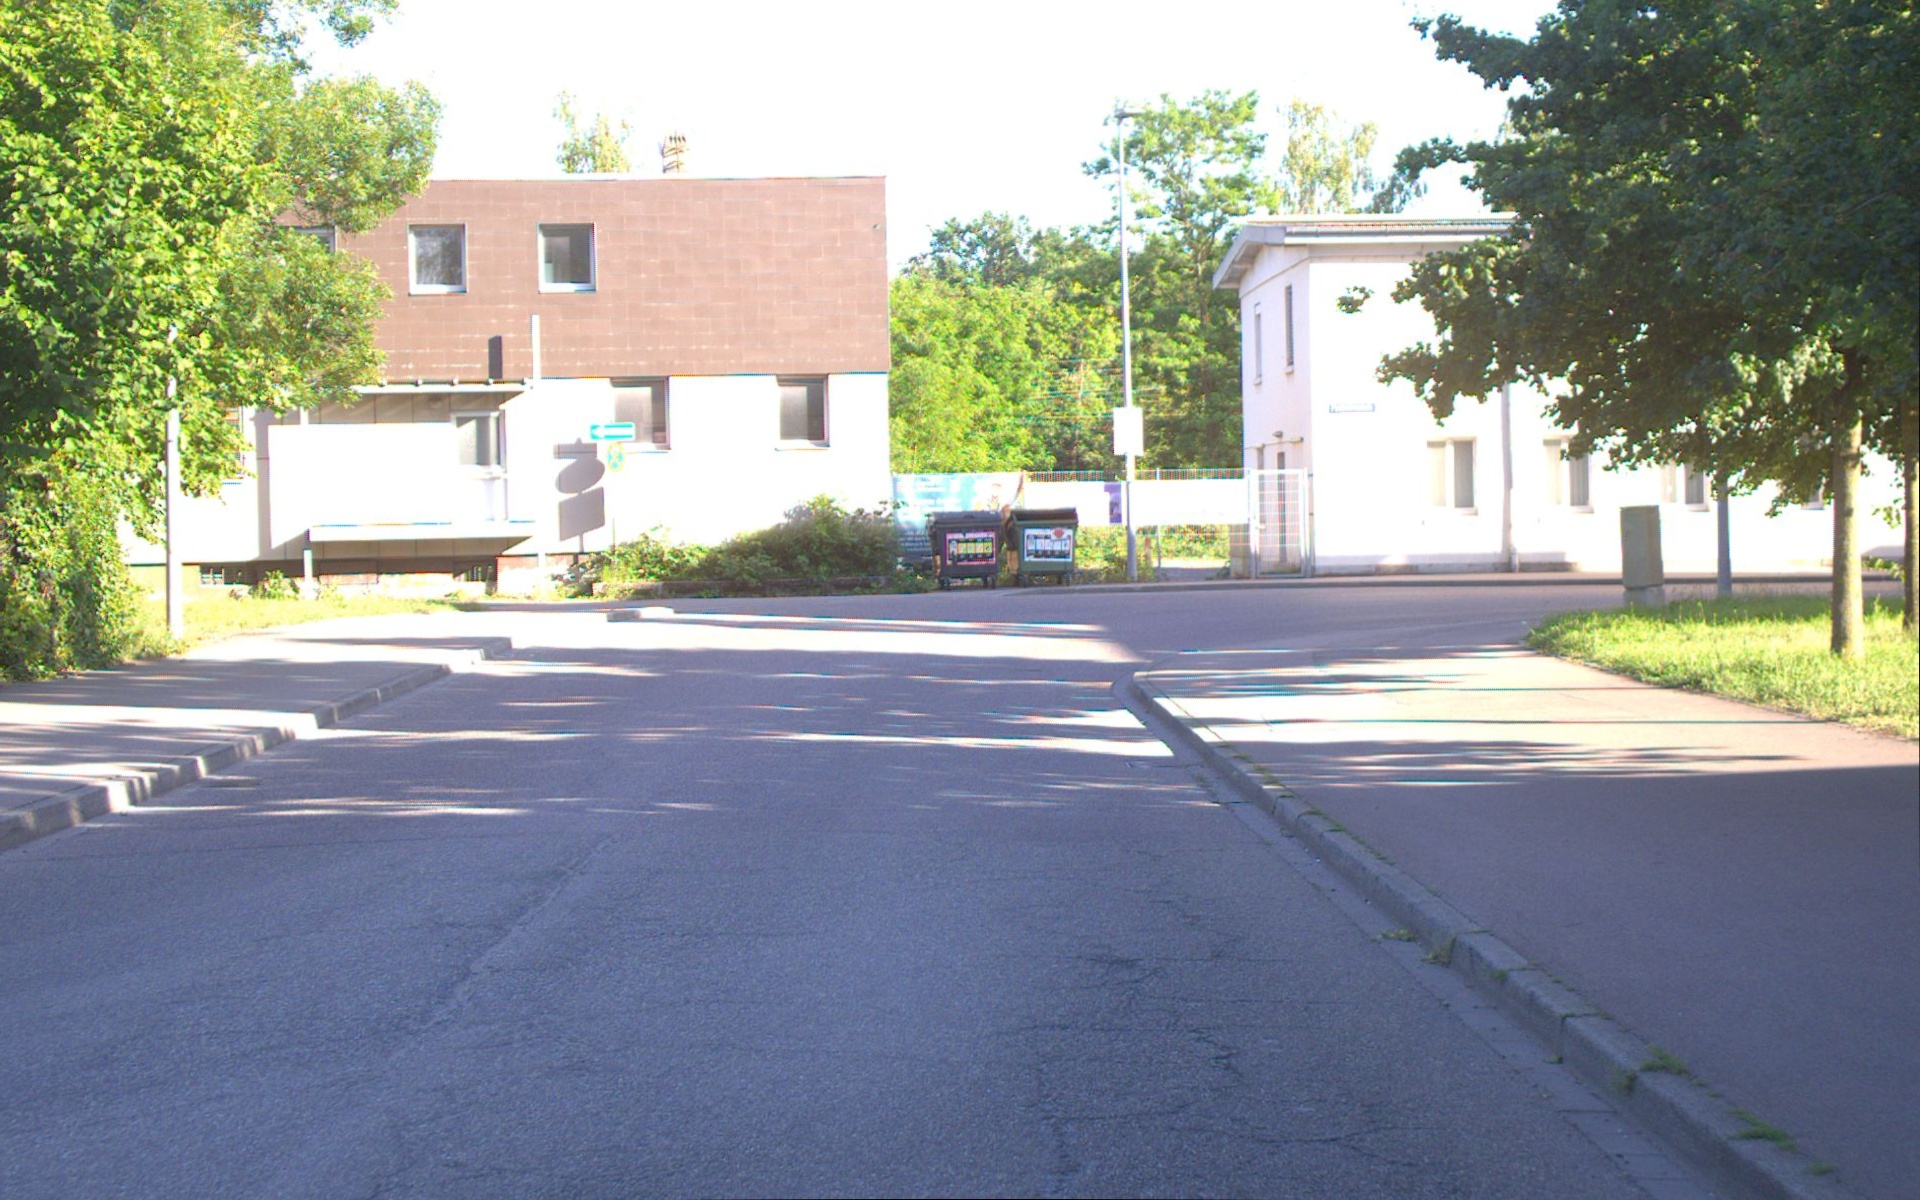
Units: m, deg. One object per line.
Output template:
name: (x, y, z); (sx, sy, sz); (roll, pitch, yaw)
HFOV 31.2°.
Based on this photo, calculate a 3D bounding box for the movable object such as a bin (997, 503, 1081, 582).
movable object such as a bin: (1.442, -1.052, 63.044); (1.364, 1.413, 1.066); (1, 1, -7)

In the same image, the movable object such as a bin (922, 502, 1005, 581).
movable object such as a bin: (0.056, -1.061, 62.696); (1.364, 1.413, 1.066); (1, 1, -7)
